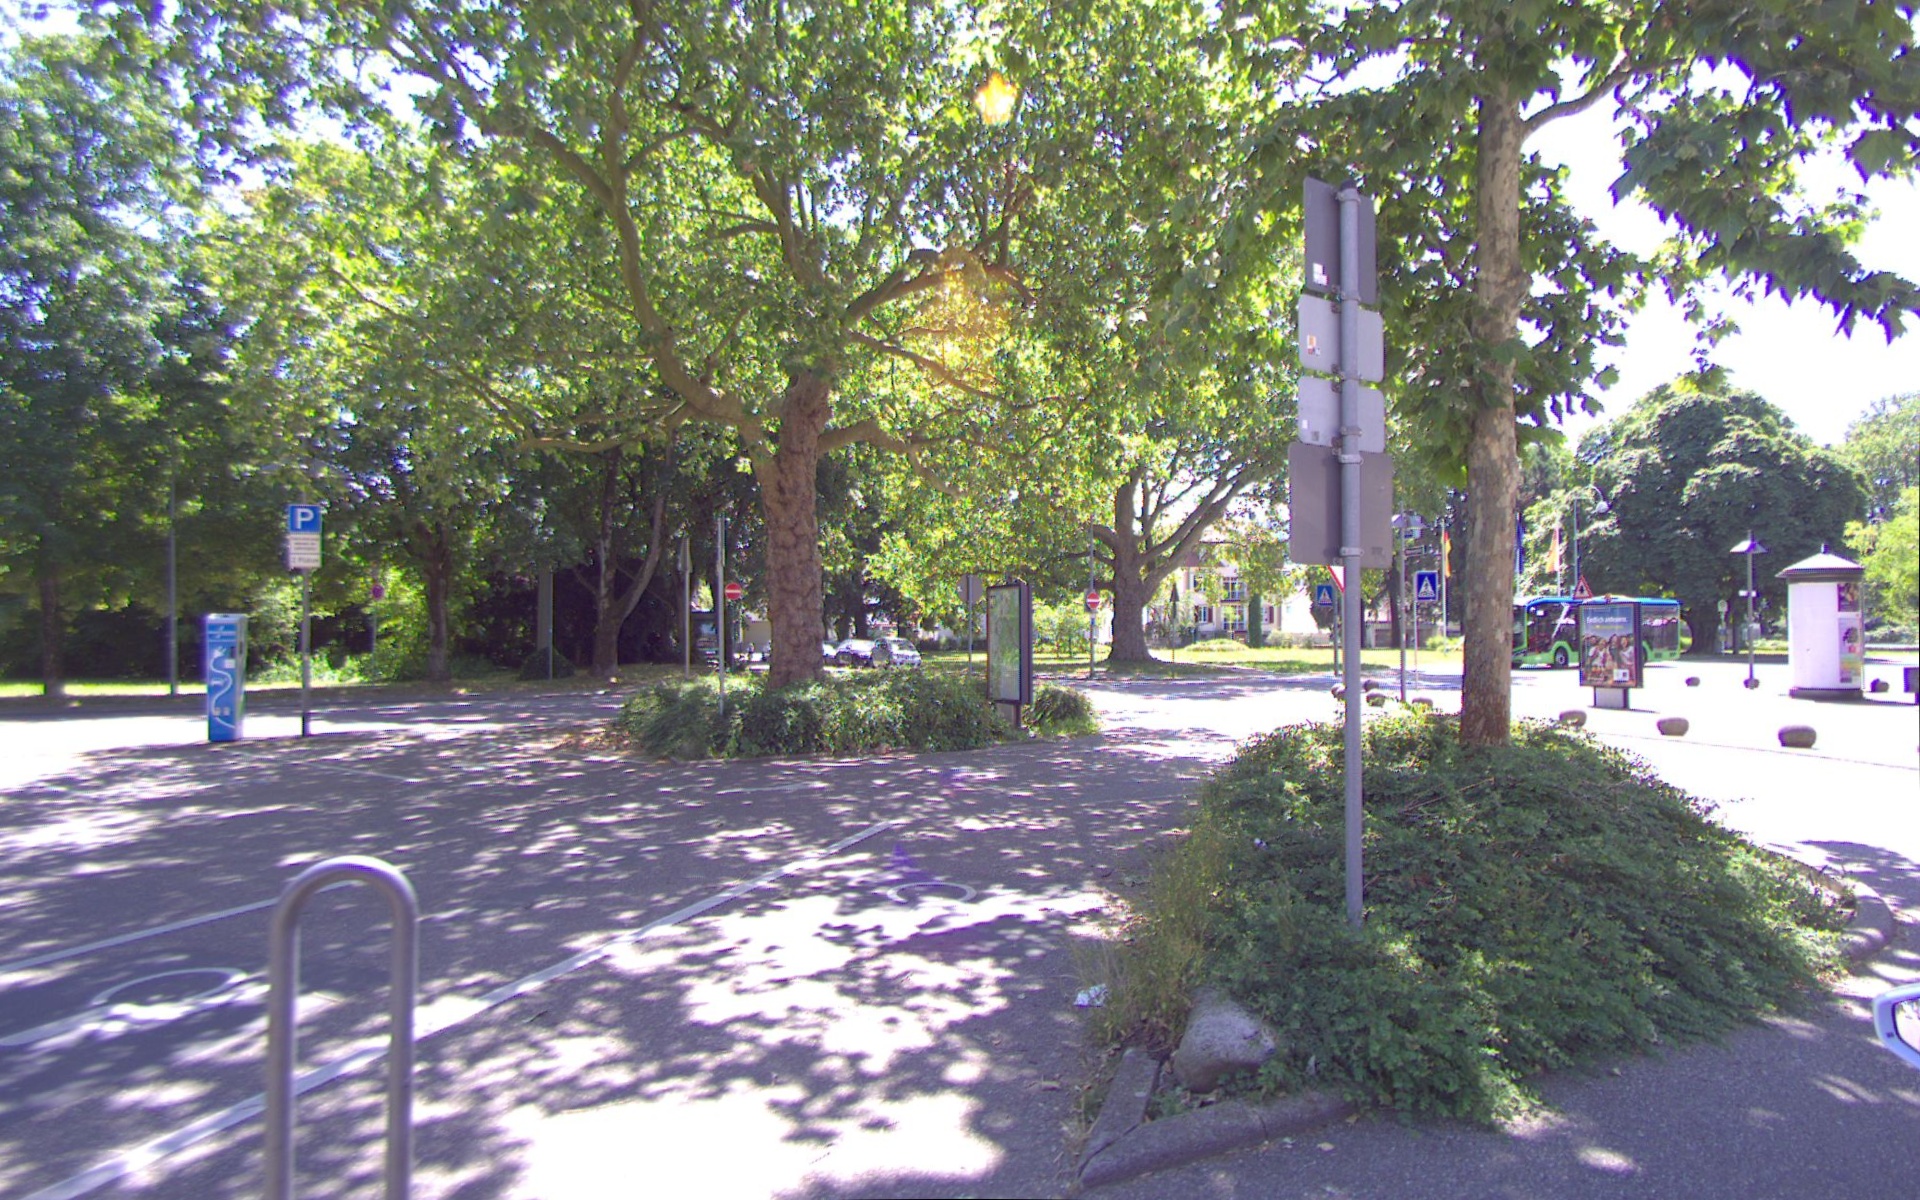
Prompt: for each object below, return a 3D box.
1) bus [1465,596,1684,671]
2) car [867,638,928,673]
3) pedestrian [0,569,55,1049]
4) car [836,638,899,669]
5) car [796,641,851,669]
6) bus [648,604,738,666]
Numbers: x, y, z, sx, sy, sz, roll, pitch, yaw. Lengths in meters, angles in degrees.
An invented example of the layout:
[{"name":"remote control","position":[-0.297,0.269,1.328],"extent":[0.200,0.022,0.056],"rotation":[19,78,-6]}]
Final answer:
[{"name":"bus","position":[29.792,1.602,48.471],"extent":[12.257,3.326,2.801],"rotation":[1,-2,-26]},{"name":"car","position":[-2.841,2.468,45.068],"extent":[1.578,1.516,3.465],"rotation":[2,-3,-24]},{"name":"pedestrian","position":[-3.926,0.754,3.529],"extent":[0.758,1.740,0.815],"rotation":[-1,-2,18]},{"name":"car","position":[-4.660,2.660,50.132],"extent":[1.732,1.458,4.477],"rotation":[2,-3,-24]},{"name":"car","position":[-7.600,3.019,55.431],"extent":[1.732,1.458,4.742],"rotation":[1,-2,-24]},{"name":"bus","position":[-16.762,2.184,61.847],"extent":[2.838,3.338,15.858],"rotation":[1,-2,-24]}]
